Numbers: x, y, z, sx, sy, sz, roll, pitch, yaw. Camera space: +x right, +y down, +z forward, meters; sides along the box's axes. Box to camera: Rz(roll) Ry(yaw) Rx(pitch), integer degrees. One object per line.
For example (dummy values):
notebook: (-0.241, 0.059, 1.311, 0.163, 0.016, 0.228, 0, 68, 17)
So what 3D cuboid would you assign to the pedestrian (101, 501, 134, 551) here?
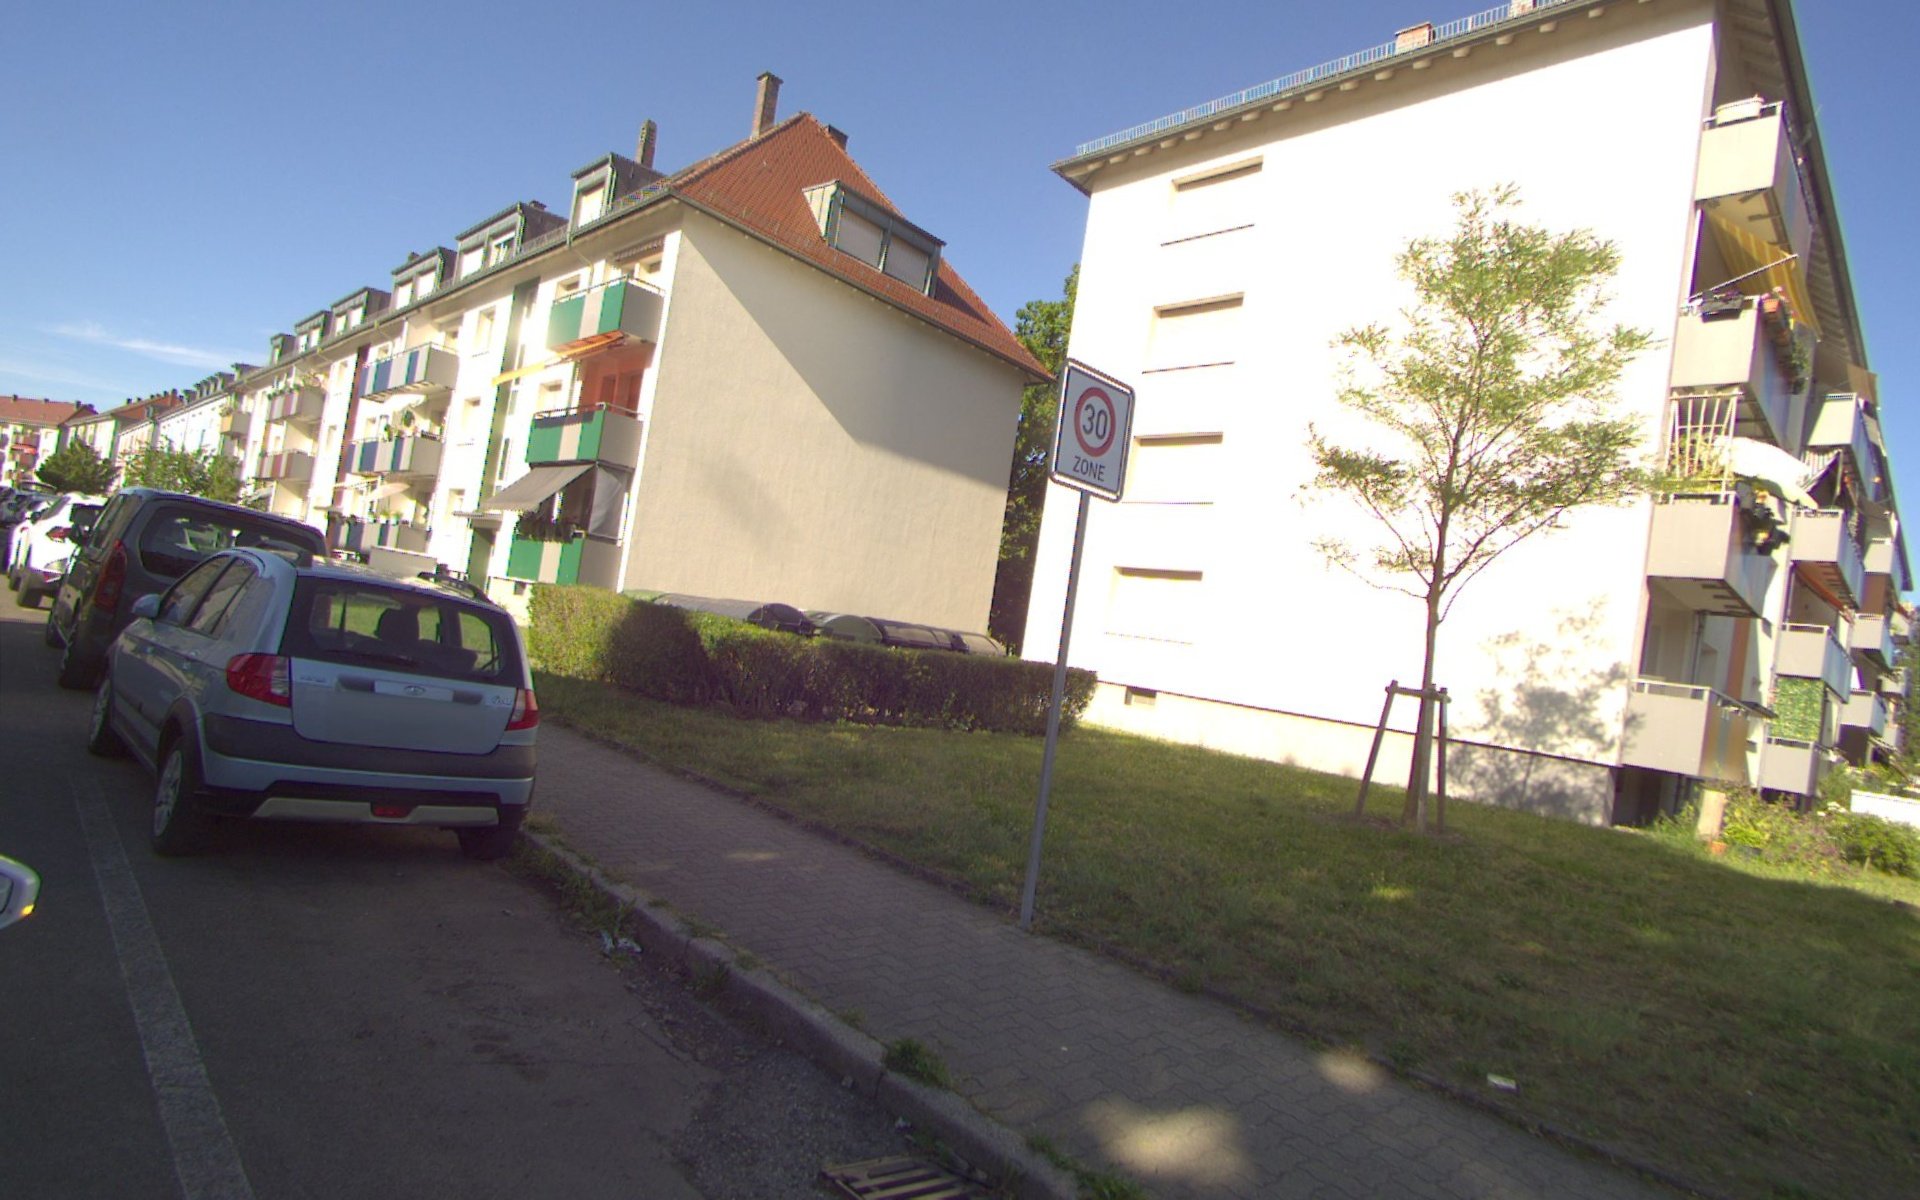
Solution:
pedestrian: (-36.734, -3.229, 43.852, 0.789, 2.036, 1.069, 10, -2, -44)

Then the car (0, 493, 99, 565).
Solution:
car: (-24.812, -1.961, 27.359, 3.576, 1.506, 1.631, 6, -5, 44)

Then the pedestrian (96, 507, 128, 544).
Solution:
pedestrian: (-43.074, -3.788, 51.103, 0.702, 1.696, 0.792, 9, -1, -9)

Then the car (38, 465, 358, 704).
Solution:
car: (-7.759, -0.209, 10.069, 1.861, 1.749, 4.241, 11, -4, -44)

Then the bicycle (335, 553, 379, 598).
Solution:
bicycle: (-16.852, -0.695, 28.107, 0.513, 1.066, 1.842, 11, -3, -44)

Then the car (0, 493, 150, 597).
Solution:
car: (-16.570, -1.057, 18.722, 3.581, 1.447, 1.756, 7, -4, 44)

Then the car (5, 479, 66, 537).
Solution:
car: (-40.903, -4.057, 44.471, 1.617, 2.167, 3.949, 11, -3, -44)

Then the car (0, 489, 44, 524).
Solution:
car: (-54.774, -5.463, 58.582, 1.804, 1.621, 4.349, 11, -4, -44)

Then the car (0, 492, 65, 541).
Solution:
car: (-37.174, -3.364, 40.112, 1.892, 1.512, 4.040, 12, -4, -44)

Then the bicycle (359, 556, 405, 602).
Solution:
bicycle: (-16.423, -0.603, 28.582, 0.558, 1.116, 1.806, 11, -3, -44)

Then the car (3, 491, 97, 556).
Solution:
car: (-28.064, -2.379, 30.982, 1.833, 1.574, 3.949, 11, -4, -44)

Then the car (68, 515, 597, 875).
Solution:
car: (-4.029, 0.408, 6.174, 3.847, 1.444, 1.652, 6, -4, 43)

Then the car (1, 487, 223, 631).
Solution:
car: (-12.667, -0.656, 14.939, 4.071, 1.609, 1.981, 6, -4, 44)
